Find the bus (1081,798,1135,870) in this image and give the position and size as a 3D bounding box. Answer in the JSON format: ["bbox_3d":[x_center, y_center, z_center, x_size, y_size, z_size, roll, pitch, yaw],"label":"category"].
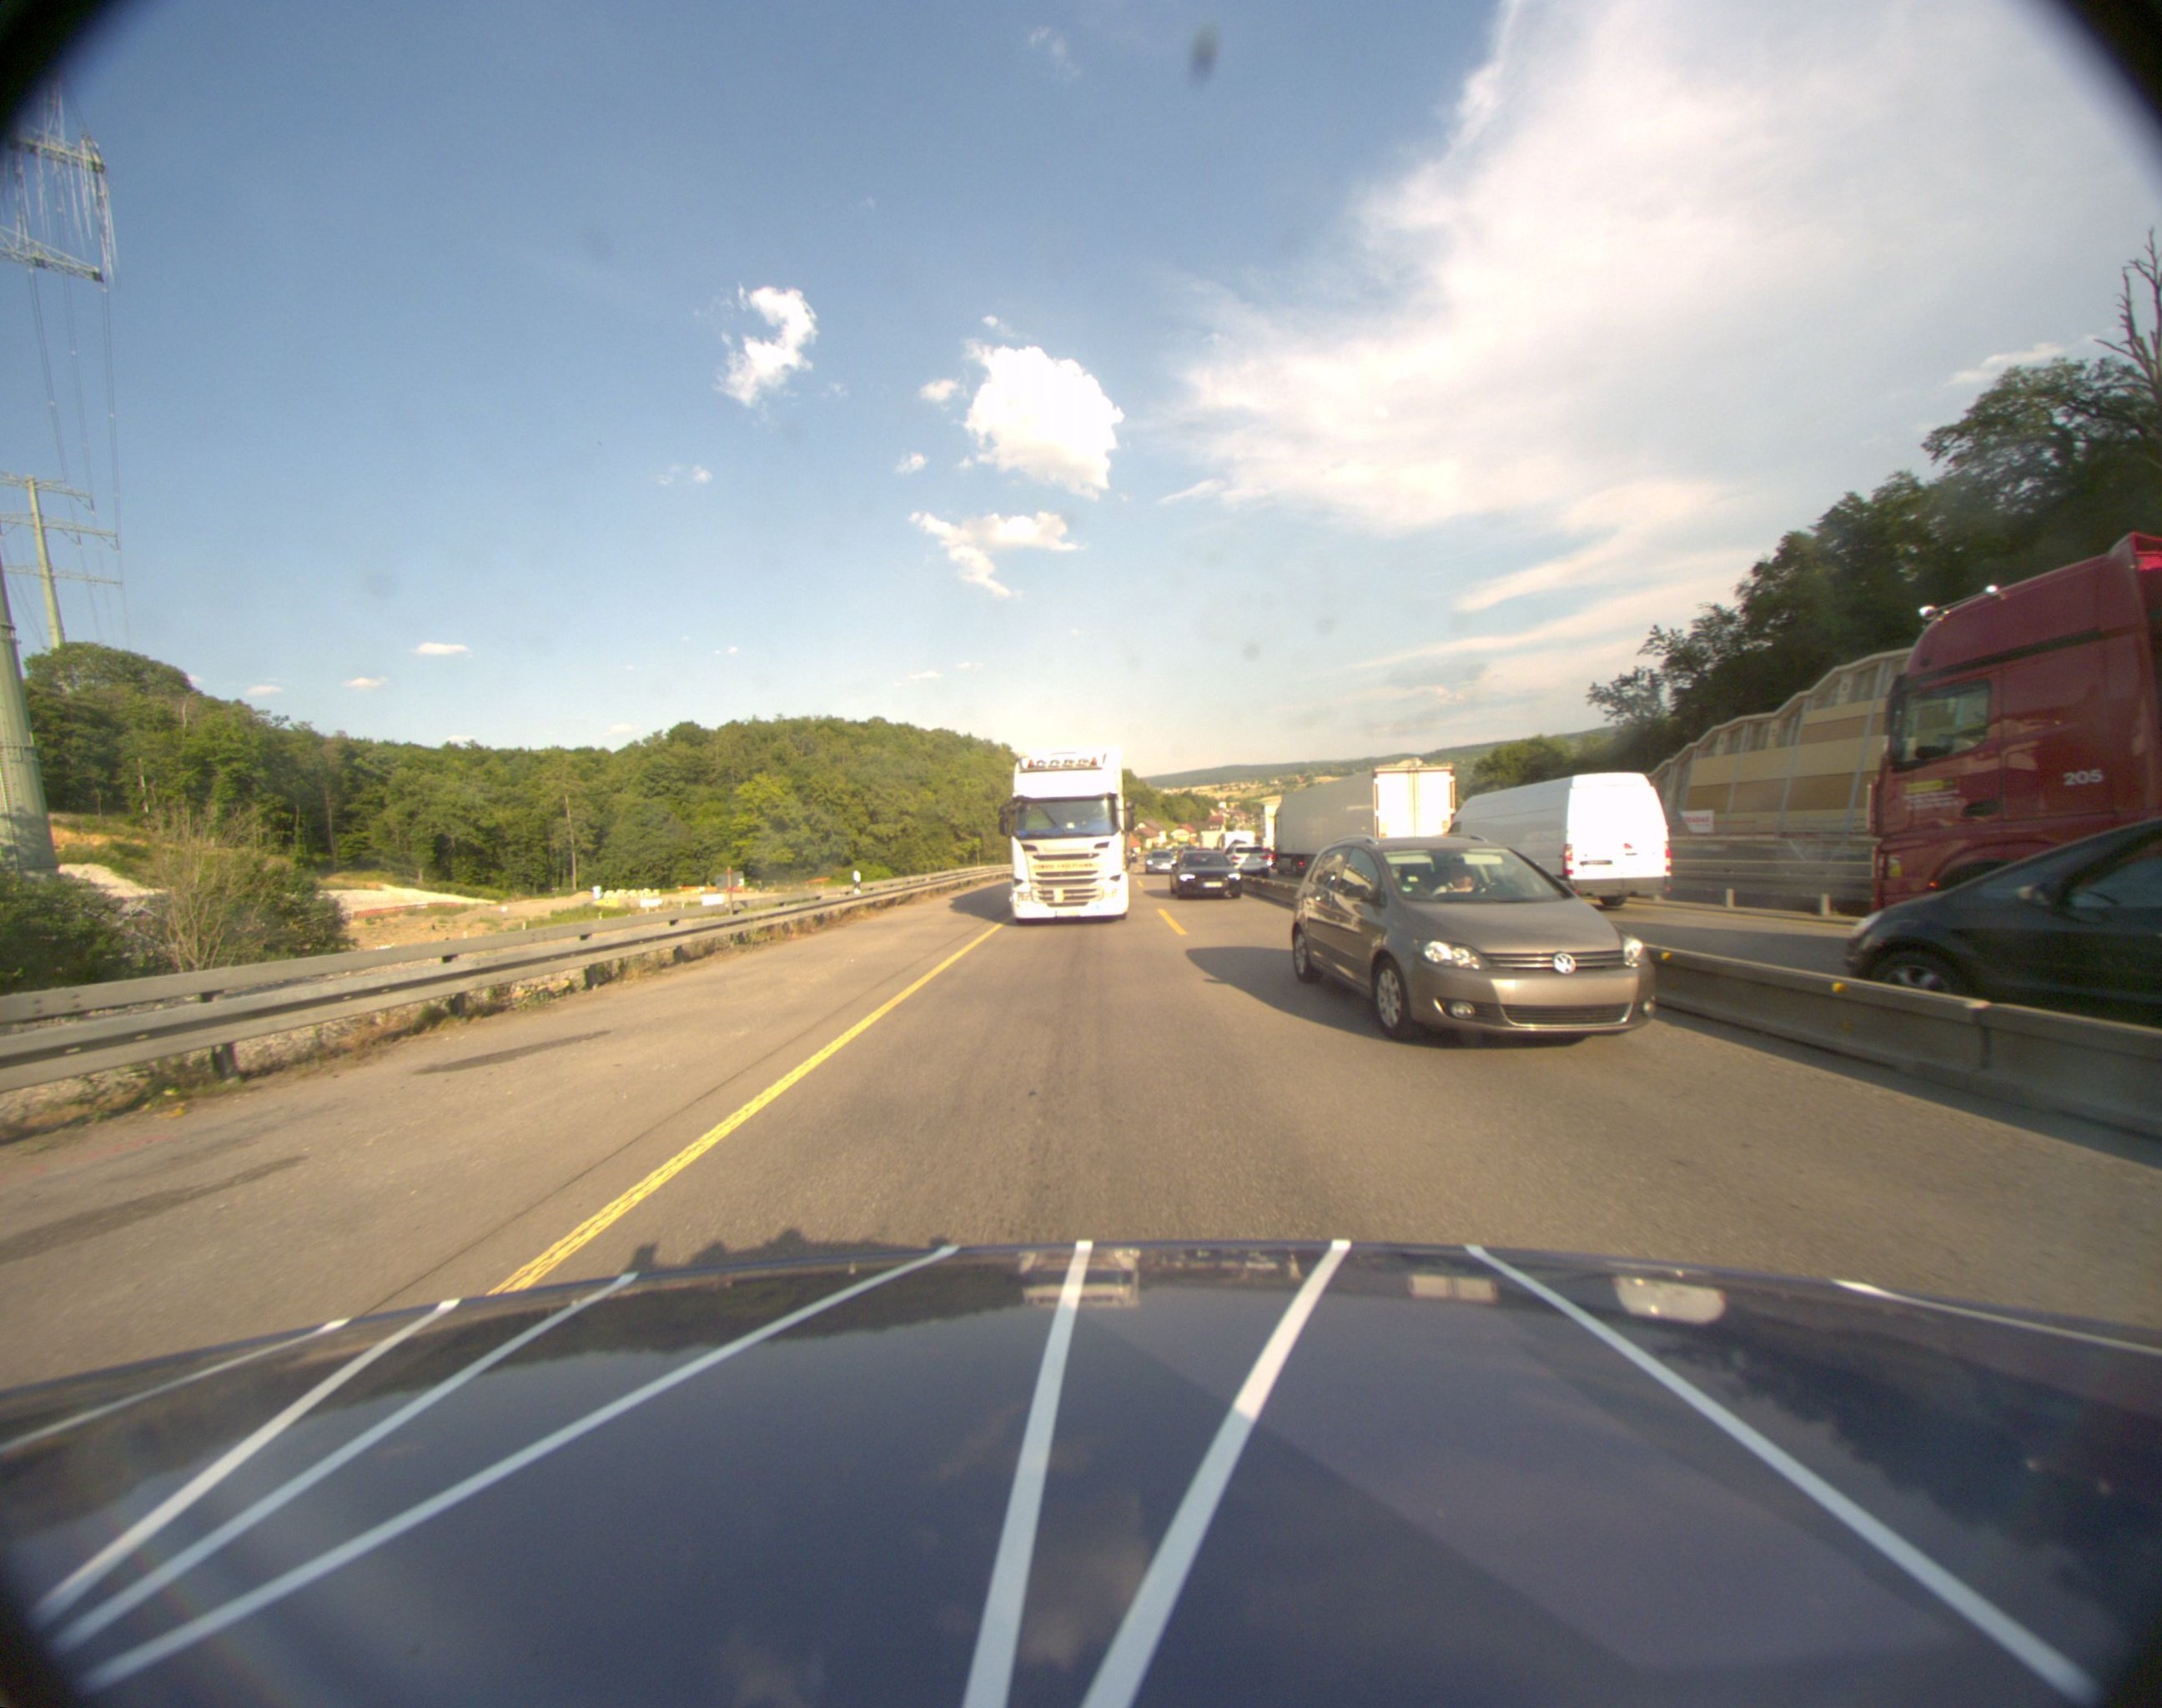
[{"bbox_3d":[2.110,-1.316,54.394,2.983,4.553,10.907,-1,0,6],"label":"bus"}]

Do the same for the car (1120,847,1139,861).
[{"bbox_3d":[5.680,-0.031,89.687,1.999,1.630,3.999,-2,1,0],"label":"car"}]

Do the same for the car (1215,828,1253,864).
[{"bbox_3d":[13.461,-0.755,67.308,2.339,2.901,7.633,-1,1,4],"label":"car"}]

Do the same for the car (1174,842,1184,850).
[{"bbox_3d":[19.402,-1.550,150.381,1.821,1.569,4.757,0,0,5],"label":"car"}]

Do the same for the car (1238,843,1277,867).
[{"bbox_3d":[11.612,0.043,50.305,1.747,1.452,4.714,-1,0,4],"label":"car"}]

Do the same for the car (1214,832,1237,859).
[{"bbox_3d":[14.568,-0.846,76.865,1.960,2.606,5.750,-1,1,7],"label":"car"}]

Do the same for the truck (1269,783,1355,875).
[{"bbox_3d":[11.445,-1.201,38.203,2.719,4.194,5.682,-2,1,2],"label":"truck"}]

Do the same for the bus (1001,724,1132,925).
[{"bbox_3d":[-0.001,-0.713,21.216,2.635,4.077,11.313,-1,1,3],"label":"bus"}]

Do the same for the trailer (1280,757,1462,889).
[{"bbox_3d":[11.172,-1.097,31.434,2.727,4.194,13.748,-2,1,2],"label":"trailer"}]

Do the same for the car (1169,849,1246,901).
[{"bbox_3d":[3.832,0.593,23.652,1.867,1.391,4.000,-1,1,2],"label":"car"}]

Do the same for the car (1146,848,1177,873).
[{"bbox_3d":[4.873,0.364,45.649,1.697,1.390,4.002,-3,0,7],"label":"car"}]

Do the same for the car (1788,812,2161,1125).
[{"bbox_3d":[6.552,0.585,3.702,1.756,1.648,4.862,-1,1,1],"label":"car"}]

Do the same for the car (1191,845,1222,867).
[{"bbox_3d":[9.594,0.135,58.334,1.892,1.559,4.457,-3,0,5],"label":"car"}]

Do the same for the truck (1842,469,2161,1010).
[{"bbox_3d":[9.933,-0.923,5.590,2.752,4.275,5.933,-2,1,1],"label":"truck"}]

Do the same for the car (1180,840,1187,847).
[{"bbox_3d":[28.378,-2.908,210.191,1.821,1.988,4.757,0,0,5],"label":"car"}]

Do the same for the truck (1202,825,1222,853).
[{"bbox_3d":[20.660,-2.356,120.335,2.712,4.065,14.159,-1,1,8],"label":"truck"}]

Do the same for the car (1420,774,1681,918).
[{"bbox_3d":[10.533,-0.170,18.003,2.026,2.674,6.949,-3,0,2],"label":"car"}]

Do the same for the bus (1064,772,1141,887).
[{"bbox_3d":[1.171,-1.022,35.513,2.984,4.553,9.969,-1,0,4],"label":"bus"}]

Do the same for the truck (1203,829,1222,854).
[{"bbox_3d":[18.443,-1.746,106.551,2.452,3.443,7.621,-1,1,9],"label":"truck"}]

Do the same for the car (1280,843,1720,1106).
[{"bbox_3d":[3.105,0.717,6.706,1.688,1.565,4.099,-2,1,2],"label":"car"}]

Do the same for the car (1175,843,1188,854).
[{"bbox_3d":[15.070,-0.755,113.906,1.821,1.569,4.757,0,0,5],"label":"car"}]

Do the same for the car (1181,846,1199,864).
[{"bbox_3d":[11.627,0.115,81.167,1.808,1.761,5.456,-2,-1,7],"label":"car"}]

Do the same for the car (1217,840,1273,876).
[{"bbox_3d":[7.793,0.248,36.556,1.873,1.579,4.806,-2,-2,4],"label":"car"}]

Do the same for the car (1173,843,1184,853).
[{"bbox_3d":[17.309,-1.071,135.032,1.821,1.569,4.757,0,0,5],"label":"car"}]
